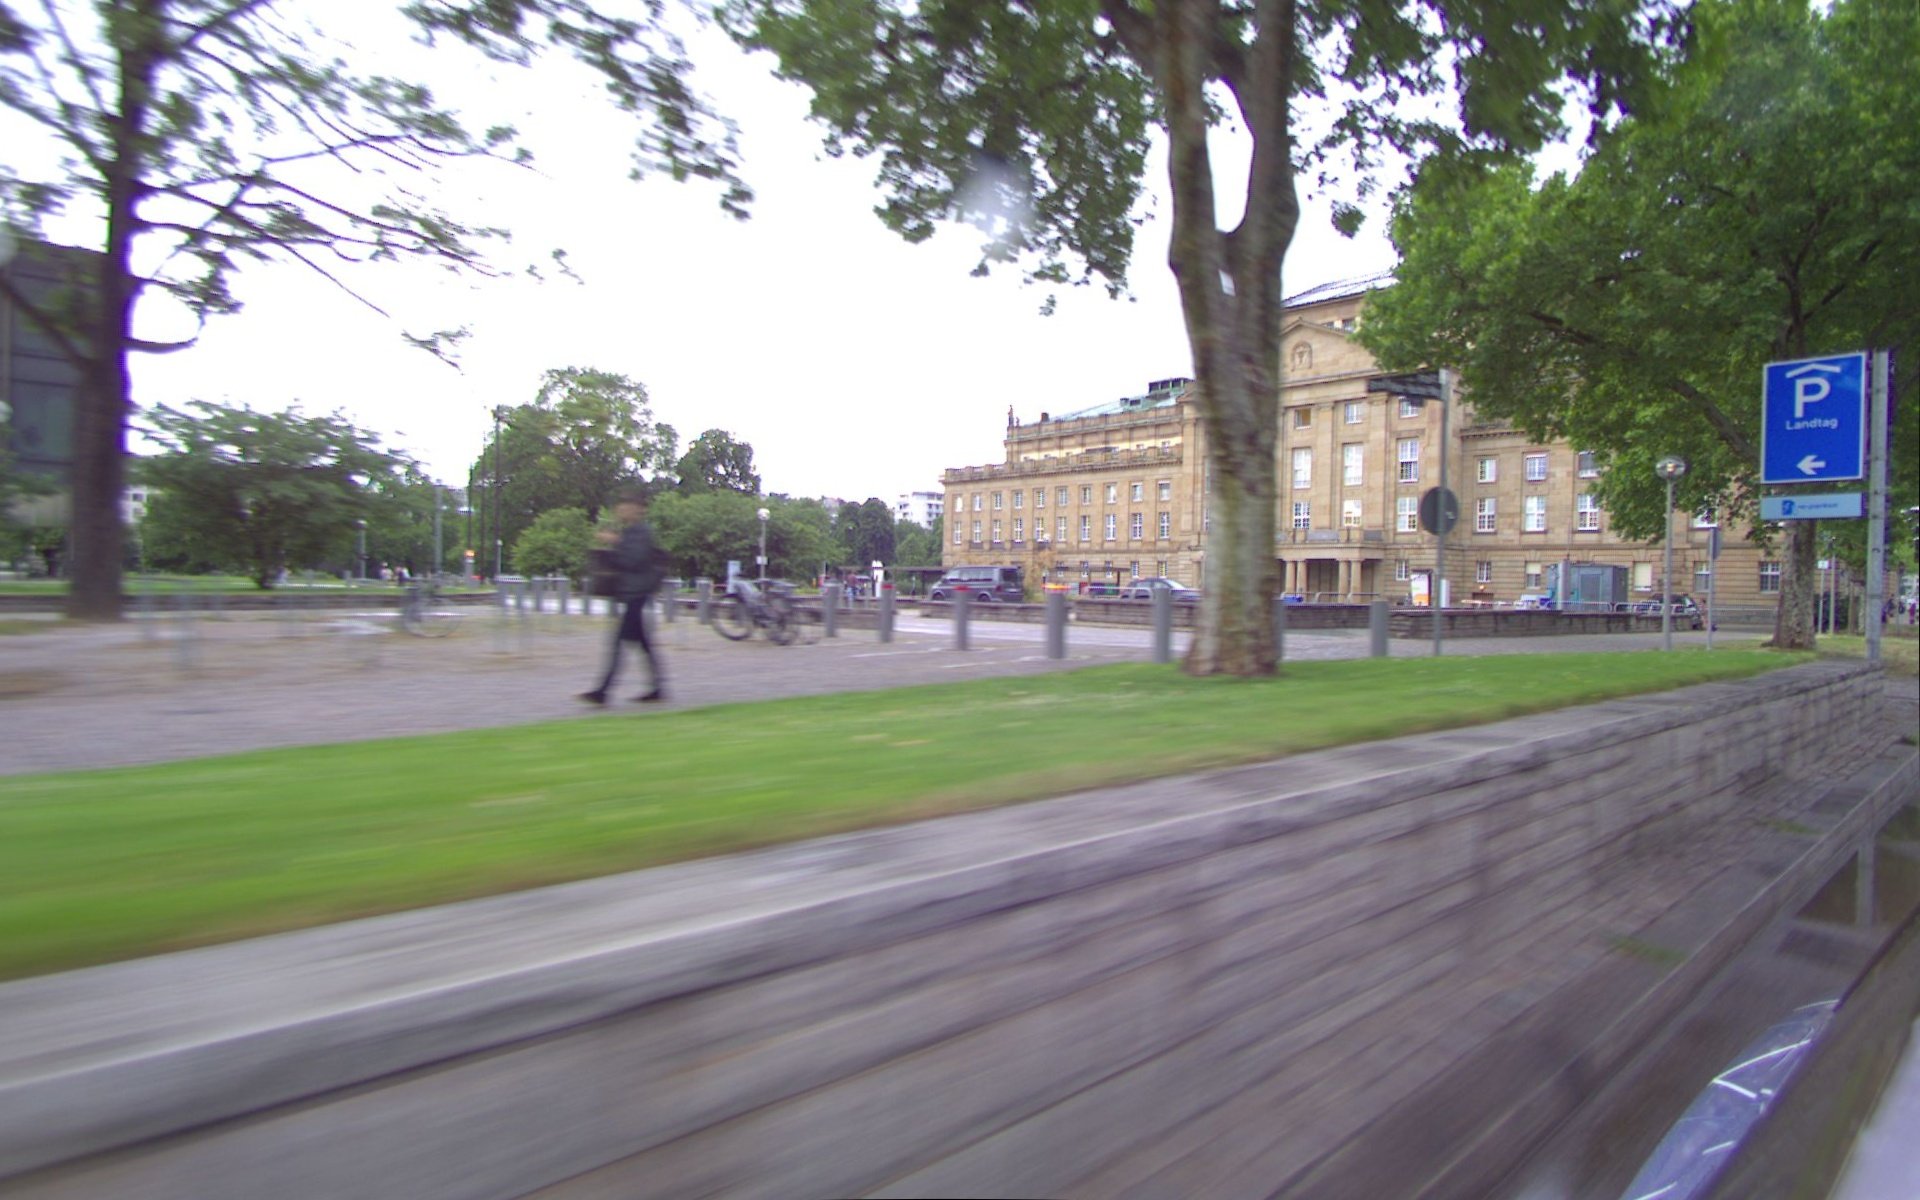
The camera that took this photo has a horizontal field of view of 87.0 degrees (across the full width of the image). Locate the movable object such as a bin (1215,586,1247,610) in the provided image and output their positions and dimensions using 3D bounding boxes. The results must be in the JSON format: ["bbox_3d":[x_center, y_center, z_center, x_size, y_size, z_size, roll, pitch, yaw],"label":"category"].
[{"bbox_3d":[17.483,-0.122,65.267,1.228,1.475,1.493,-1,3,-41],"label":"movable object such as a bin"}]

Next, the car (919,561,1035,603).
[{"bbox_3d":[0.731,-0.822,46.031,5.008,1.786,2.421,2,1,45],"label":"car"}]

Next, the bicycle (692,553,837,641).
[{"bbox_3d":[-2.854,-0.065,14.676,2.030,1.188,0.947,2,1,38],"label":"bicycle"}]

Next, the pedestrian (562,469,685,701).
[{"bbox_3d":[-2.698,-0.124,8.104,0.680,1.739,0.706,1,2,-42],"label":"pedestrian"}]

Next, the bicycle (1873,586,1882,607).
[{"bbox_3d":[67.397,-0.275,74.334,0.453,1.535,1.574,-1,-1,44],"label":"bicycle"}]

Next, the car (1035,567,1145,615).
[{"bbox_3d":[4.820,-0.372,37.893,1.627,1.619,3.996,0,3,-40],"label":"car"}]

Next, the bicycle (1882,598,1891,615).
[{"bbox_3d":[67.883,0.476,74.124,0.464,1.230,1.665,1,1,44],"label":"bicycle"}]

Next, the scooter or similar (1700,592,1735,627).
[{"bbox_3d":[28.836,0.332,38.532,0.535,1.271,1.431,2,1,15],"label":"scooter or similar"}]

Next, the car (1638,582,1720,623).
[{"bbox_3d":[30.371,0.136,42.655,1.994,1.630,5.150,1,0,45],"label":"car"}]

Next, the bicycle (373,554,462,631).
[{"bbox_3d":[-8.290,-0.131,15.440,1.641,1.099,0.698,2,1,43],"label":"bicycle"}]
